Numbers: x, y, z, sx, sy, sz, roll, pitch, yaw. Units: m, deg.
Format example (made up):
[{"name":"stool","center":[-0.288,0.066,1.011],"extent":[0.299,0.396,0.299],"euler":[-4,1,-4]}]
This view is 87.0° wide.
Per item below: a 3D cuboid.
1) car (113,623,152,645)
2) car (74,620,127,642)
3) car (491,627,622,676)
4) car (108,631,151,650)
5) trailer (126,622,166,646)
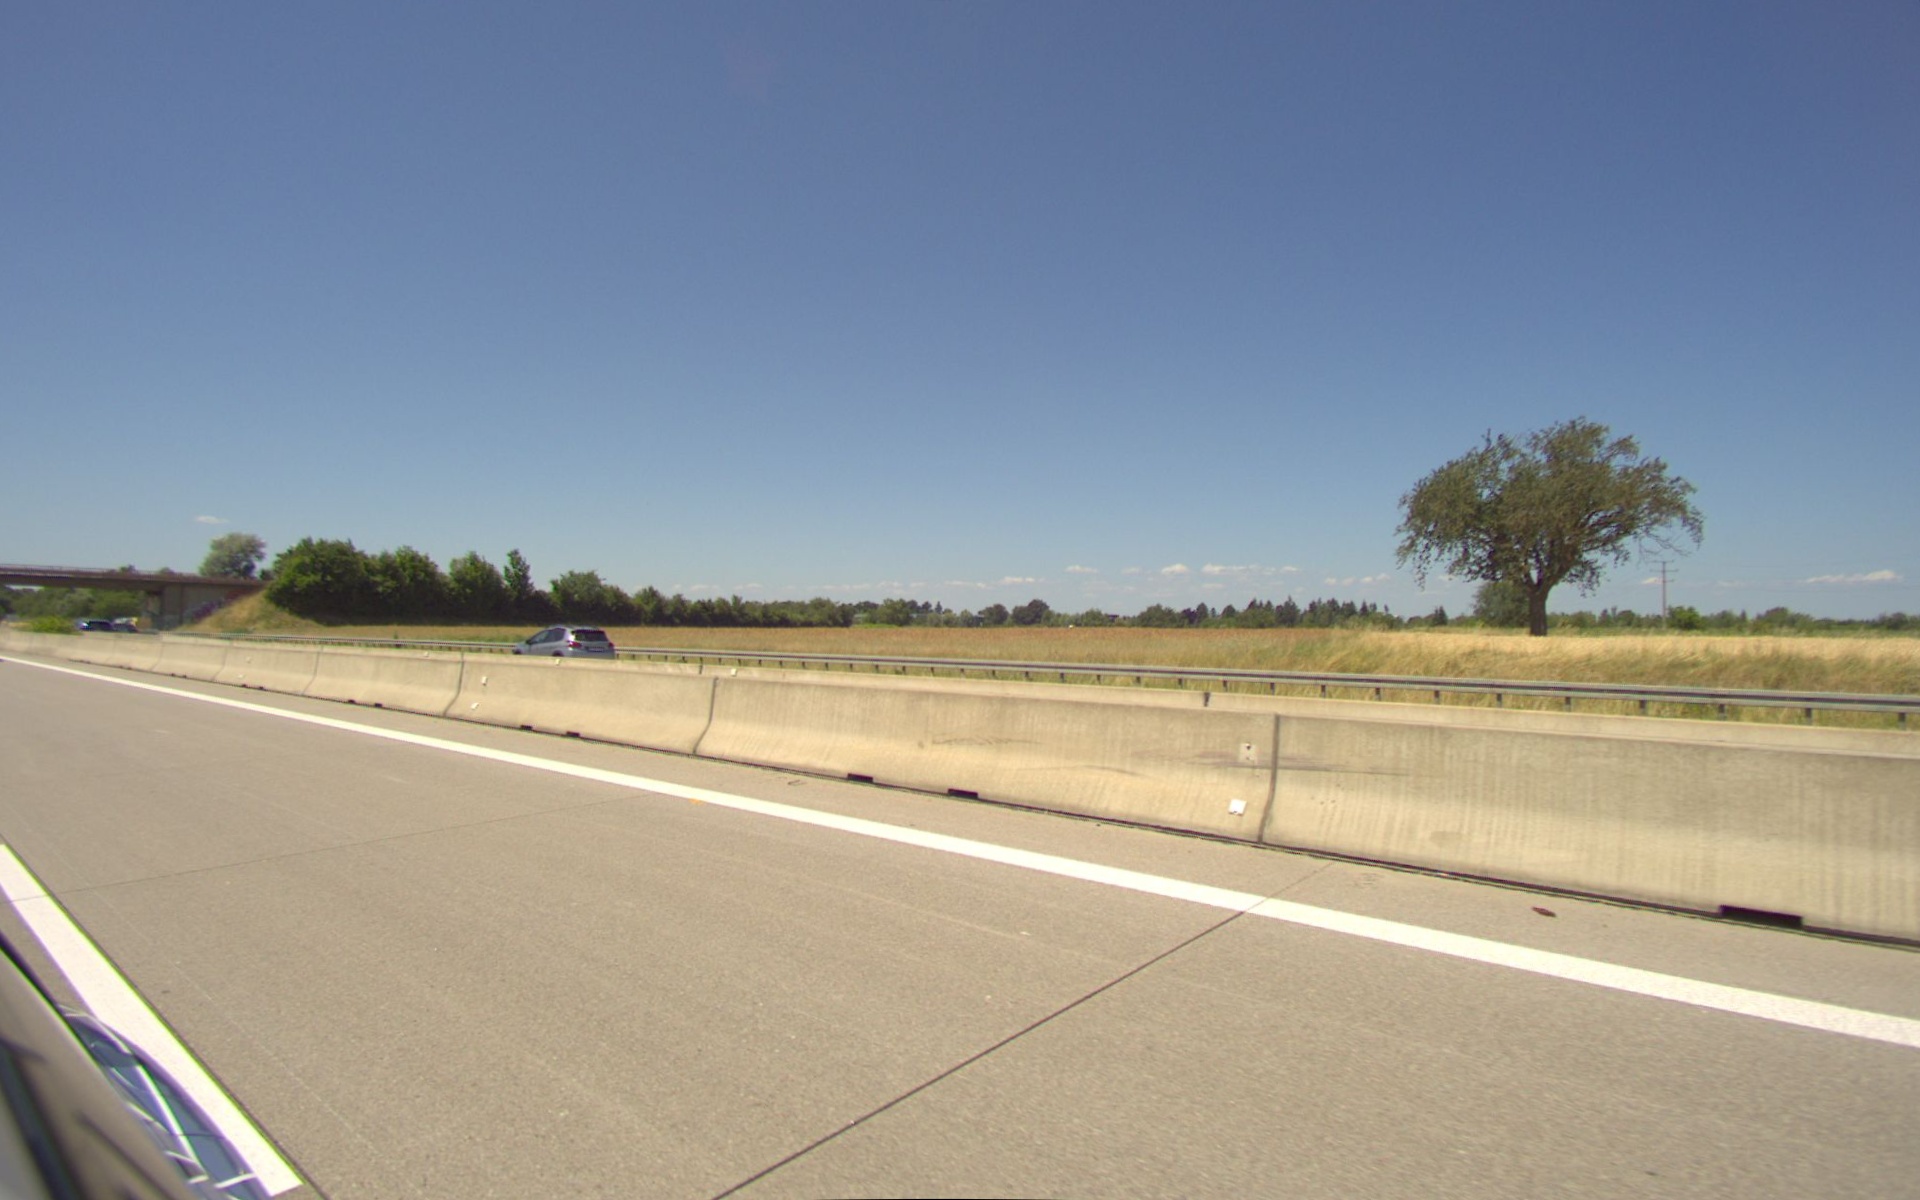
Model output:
[{"name":"car","center":[-76.206,3.120,93.172],"extent":[5.563,1.959,1.846],"euler":[-1,0,41]},{"name":"car","center":[-52.339,1.893,61.617],"extent":[4.674,1.249,1.753],"euler":[-1,0,41]},{"name":"car","center":[-12.708,1.560,31.712],"extent":[4.903,1.383,1.718],"euler":[-1,0,41]},{"name":"car","center":[-63.347,3.065,77.158],"extent":[5.040,1.370,1.695],"euler":[-1,0,40]},{"name":"trailer","center":[-71.972,2.972,89.478],"extent":[5.610,2.058,1.791],"euler":[-1,0,41]}]
